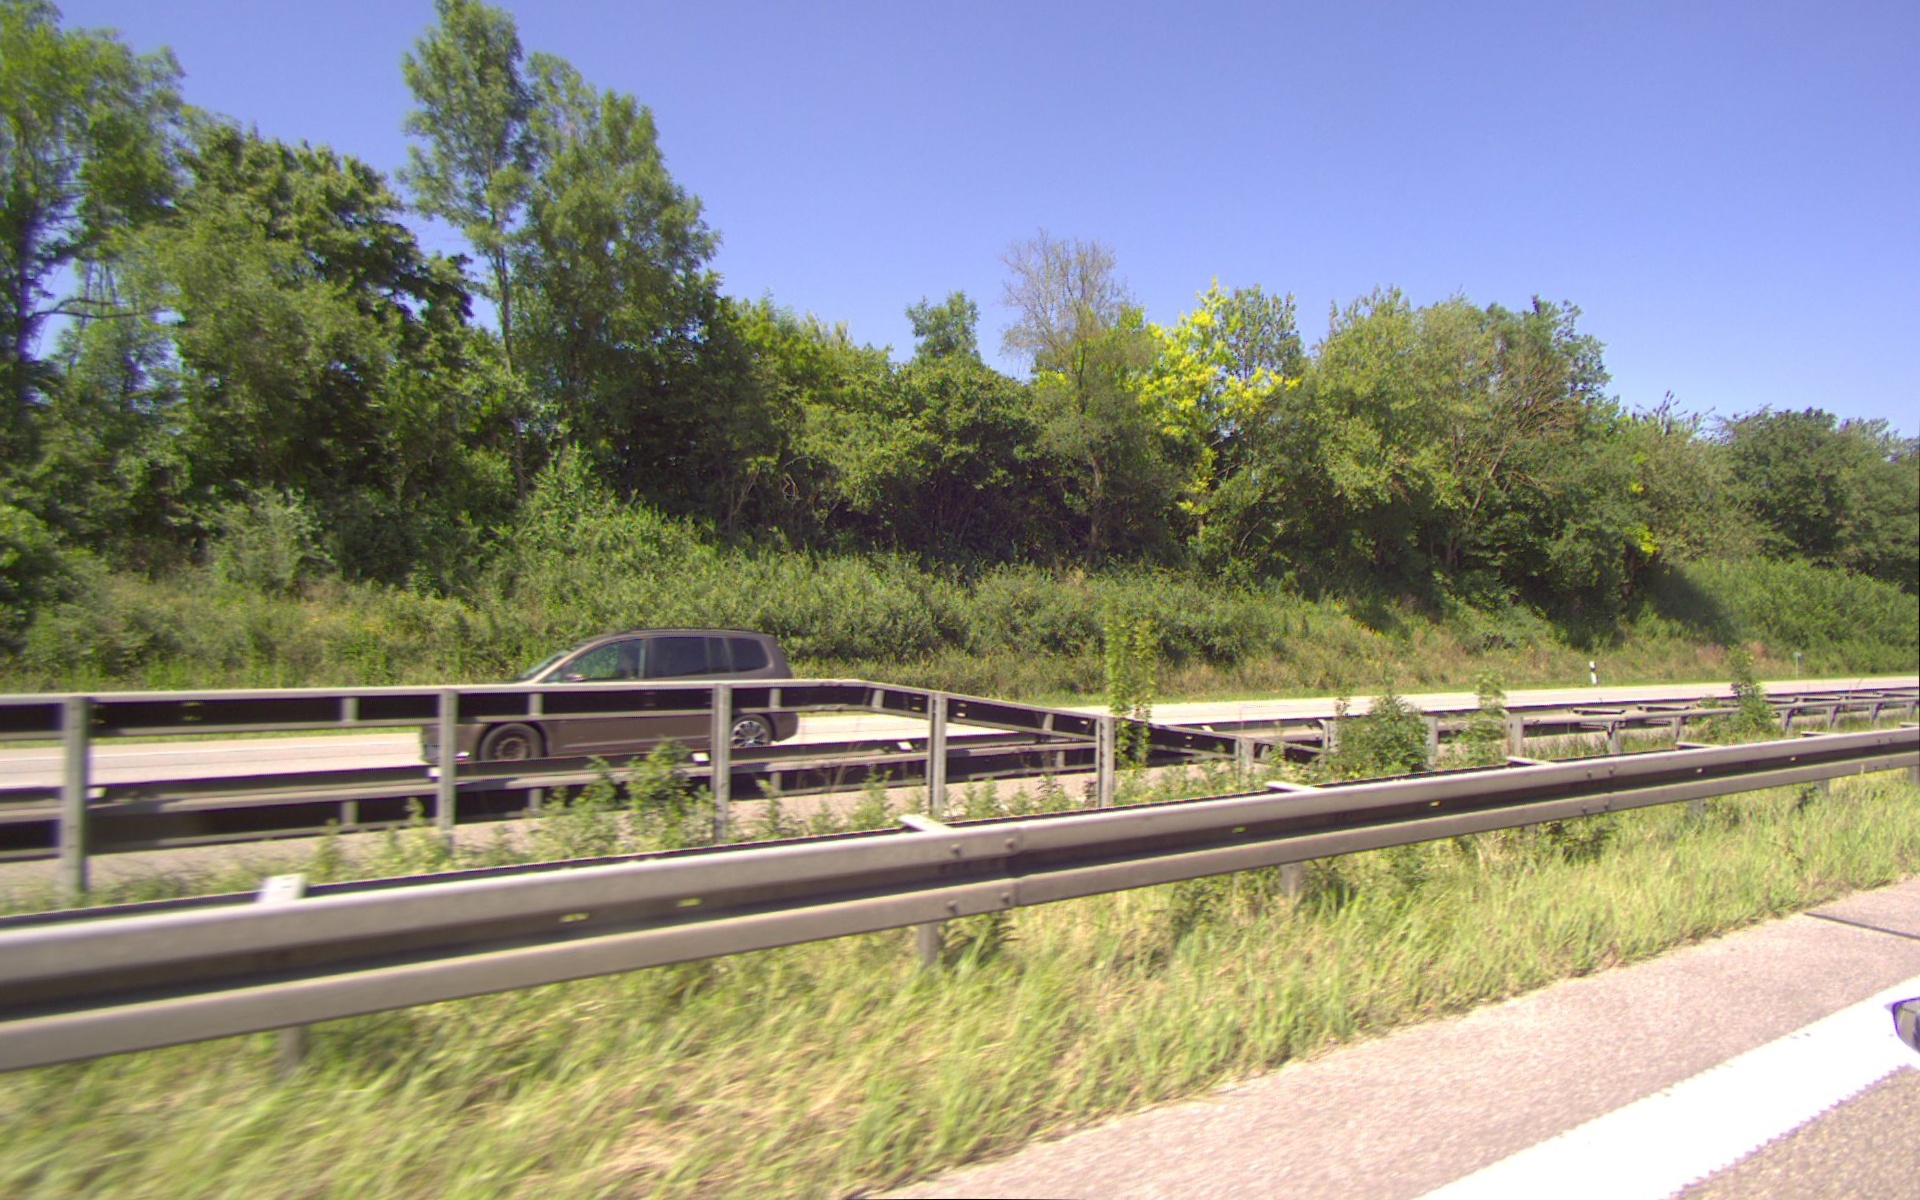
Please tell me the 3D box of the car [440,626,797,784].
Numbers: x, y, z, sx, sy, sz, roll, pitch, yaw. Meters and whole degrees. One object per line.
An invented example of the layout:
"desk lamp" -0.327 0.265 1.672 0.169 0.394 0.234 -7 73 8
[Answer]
"car" -4.079 1.179 12.153 3.867 1.638 1.650 1 -4 -30
